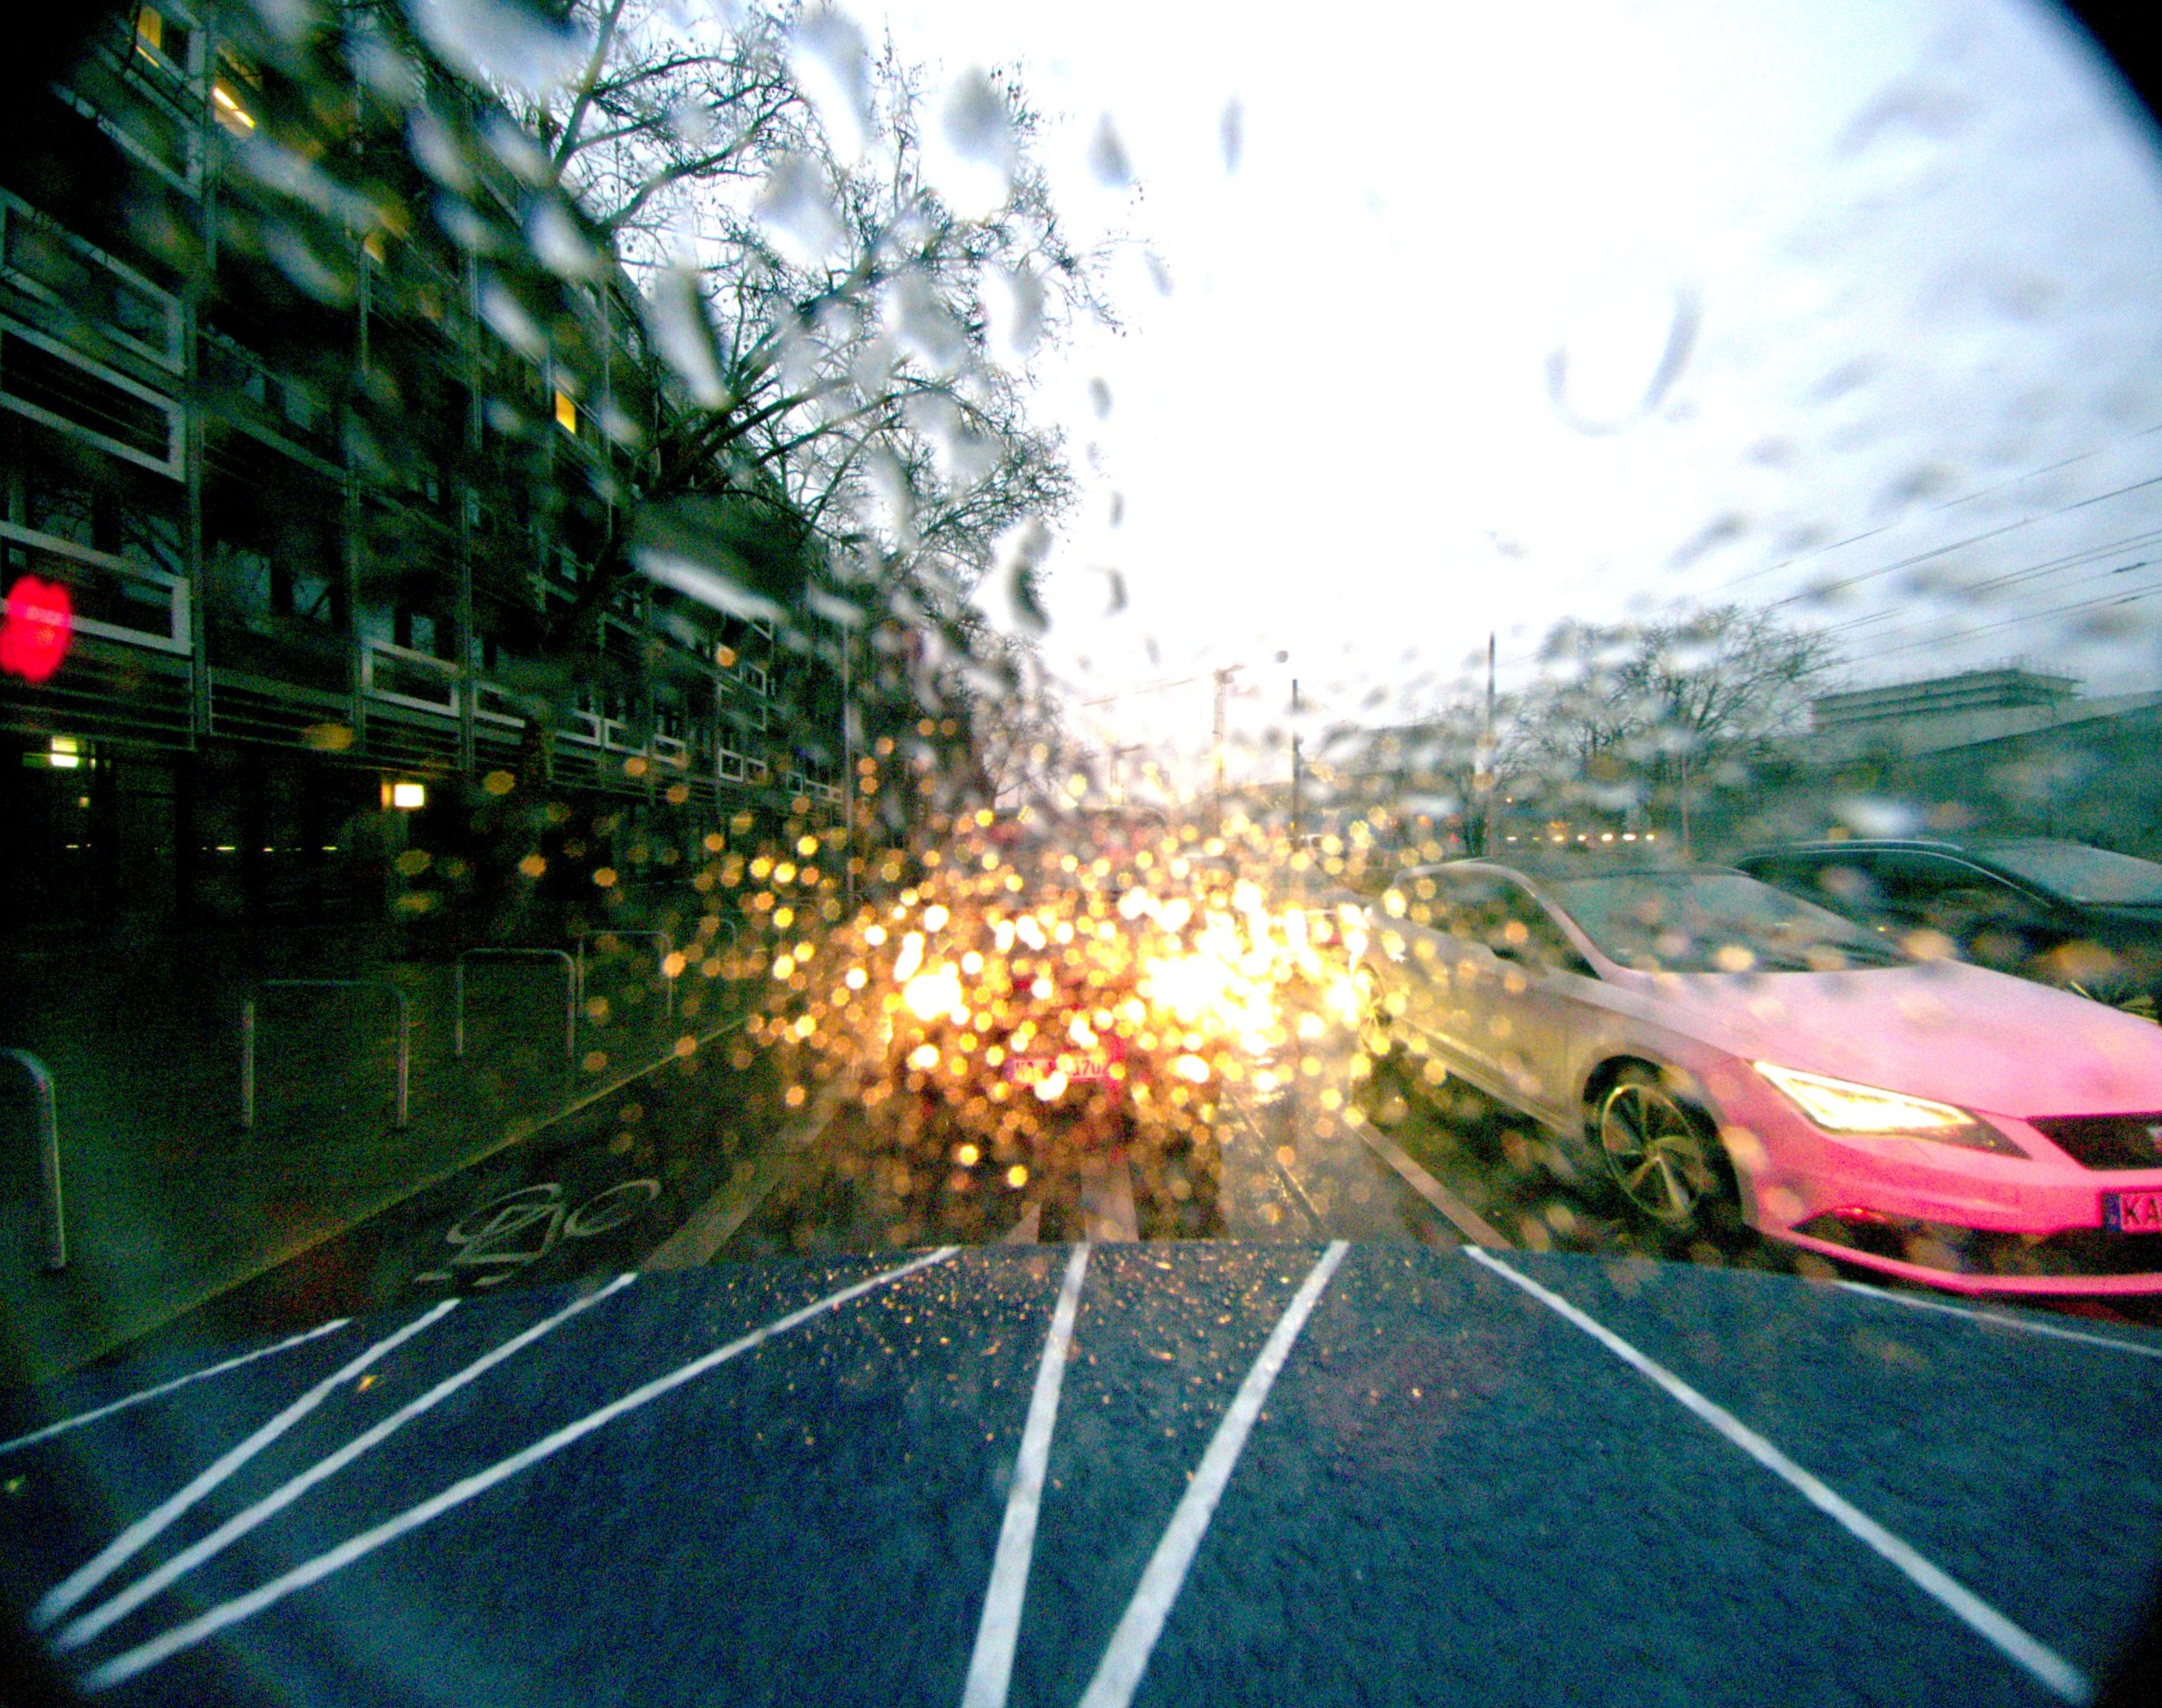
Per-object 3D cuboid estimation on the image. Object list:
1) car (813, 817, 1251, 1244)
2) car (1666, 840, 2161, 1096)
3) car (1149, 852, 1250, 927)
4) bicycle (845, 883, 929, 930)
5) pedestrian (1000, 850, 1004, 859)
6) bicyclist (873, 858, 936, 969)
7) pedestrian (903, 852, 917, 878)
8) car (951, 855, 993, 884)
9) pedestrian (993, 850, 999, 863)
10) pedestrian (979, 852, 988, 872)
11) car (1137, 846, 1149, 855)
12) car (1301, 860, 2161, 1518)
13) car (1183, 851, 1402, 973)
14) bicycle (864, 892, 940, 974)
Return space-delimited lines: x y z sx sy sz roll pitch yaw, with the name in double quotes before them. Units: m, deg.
"car" -0.244 0.764 5.383 1.878 1.830 3.999 -2 1 -1
"car" 7.354 0.660 5.977 1.853 1.499 4.662 -1 1 -1
"car" 2.842 0.795 19.074 1.907 1.565 3.999 -2 1 1
"bicycle" -4.490 1.207 17.654 1.704 0.987 0.879 1 1 0
"pedestrian" -14.472 0.097 138.979 0.766 1.740 0.928 0 1 -4
"bicyclist" -2.718 0.888 11.787 0.704 1.650 0.964 -1 0 1
"pedestrian" -11.508 0.730 51.173 0.766 1.740 0.928 0 1 -4
"car" -6.178 0.856 43.411 1.713 1.455 3.999 -2 1 1
"pedestrian" -11.774 0.385 104.951 0.766 1.740 0.928 0 1 -4
"pedestrian" -8.640 0.683 67.360 0.766 1.740 0.928 0 1 -4
"car" 13.924 -0.852 170.659 2.095 1.884 3.997 -1 1 -7
"car" 2.981 0.838 4.161 1.949 1.478 4.504 -2 0 -4
"car" 2.907 0.700 11.589 1.999 1.478 4.505 -1 0 -1
"bicycle" -2.732 1.176 11.797 0.710 1.088 1.784 -1 0 1
